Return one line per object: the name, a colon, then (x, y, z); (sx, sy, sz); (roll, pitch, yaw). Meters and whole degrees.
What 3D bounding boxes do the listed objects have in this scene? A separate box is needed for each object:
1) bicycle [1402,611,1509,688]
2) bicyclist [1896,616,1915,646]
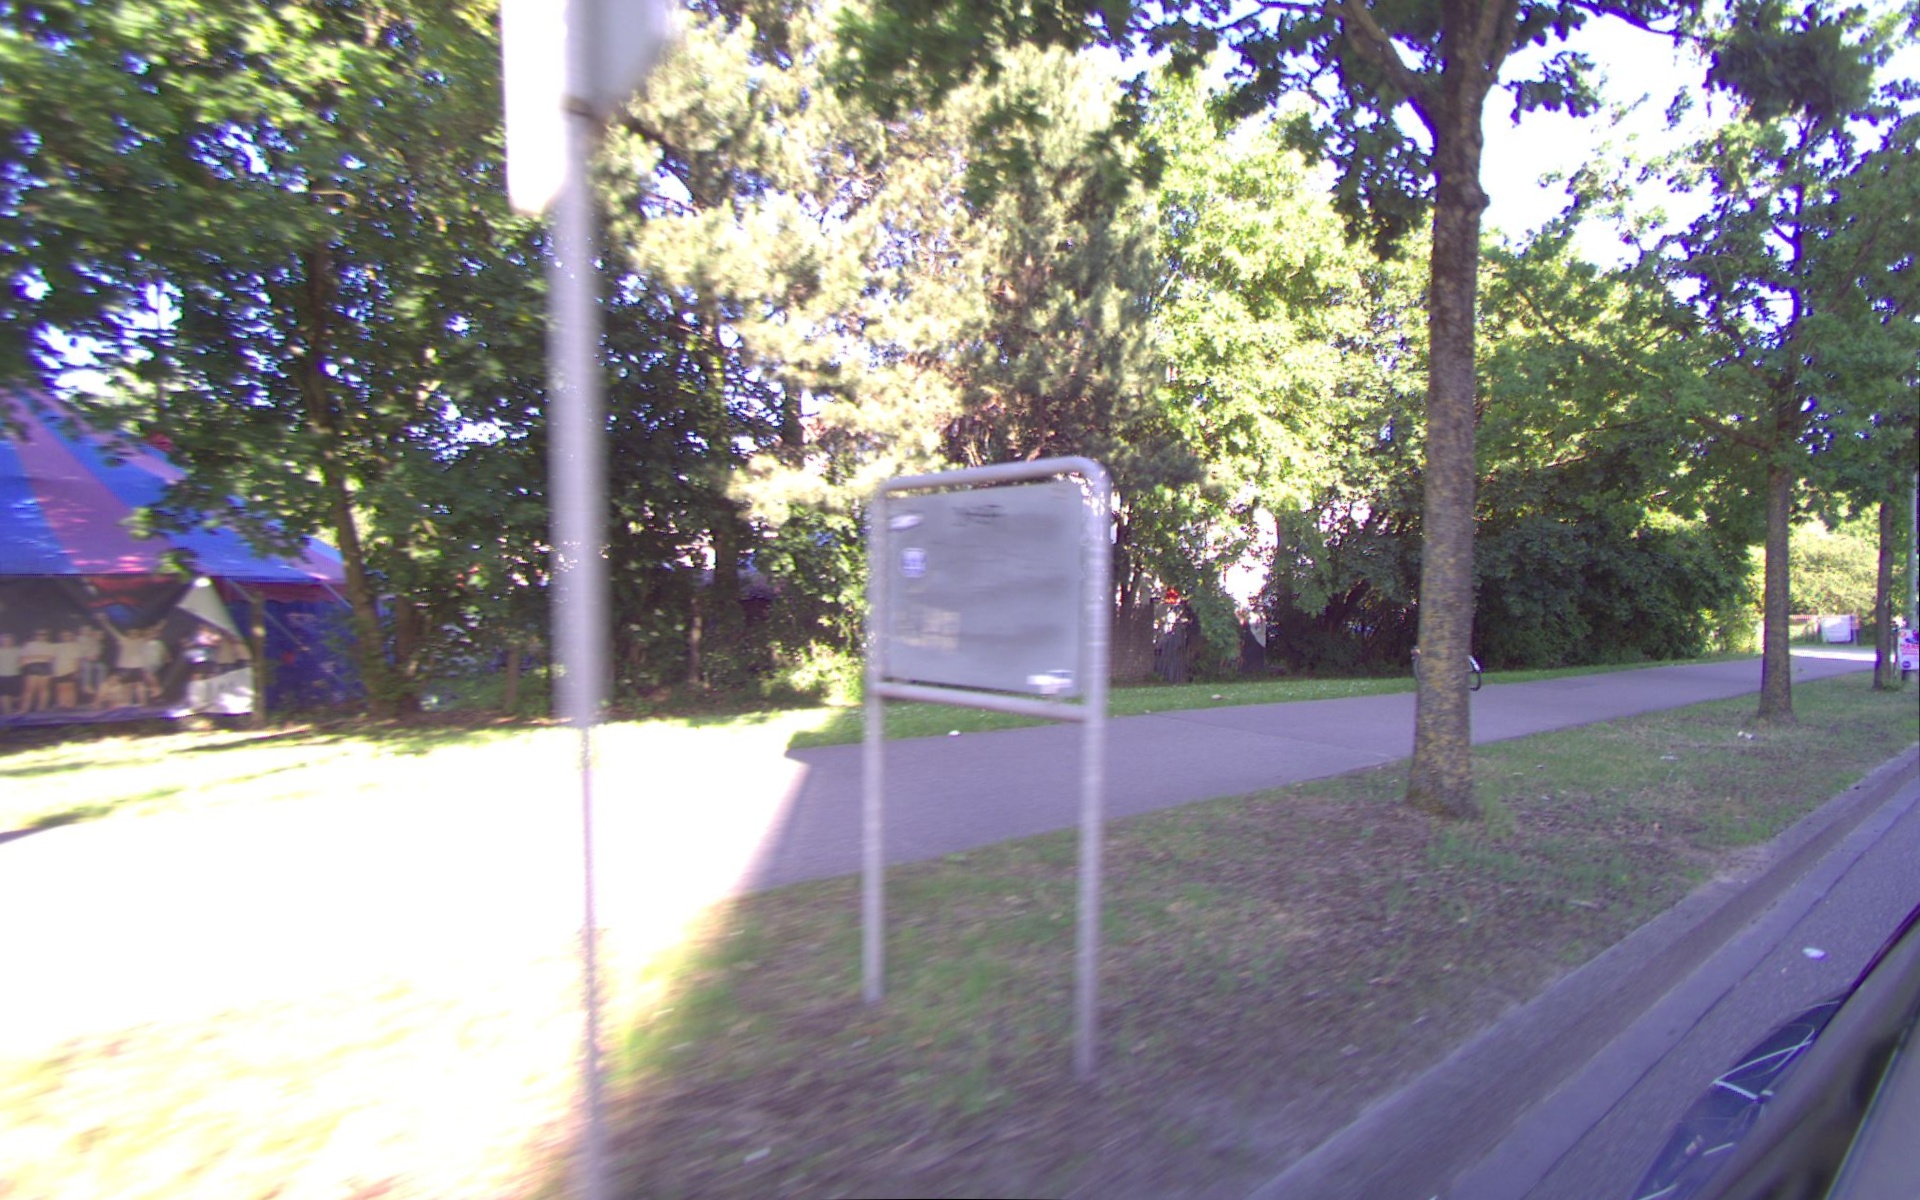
bicycle: (7.869, 0.757, 16.065); (1.675, 1.145, 0.776); (1, 0, -33)
bicyclist: (49.299, 1.623, 52.747); (1.019, 1.541, 0.685); (1, -1, -44)
